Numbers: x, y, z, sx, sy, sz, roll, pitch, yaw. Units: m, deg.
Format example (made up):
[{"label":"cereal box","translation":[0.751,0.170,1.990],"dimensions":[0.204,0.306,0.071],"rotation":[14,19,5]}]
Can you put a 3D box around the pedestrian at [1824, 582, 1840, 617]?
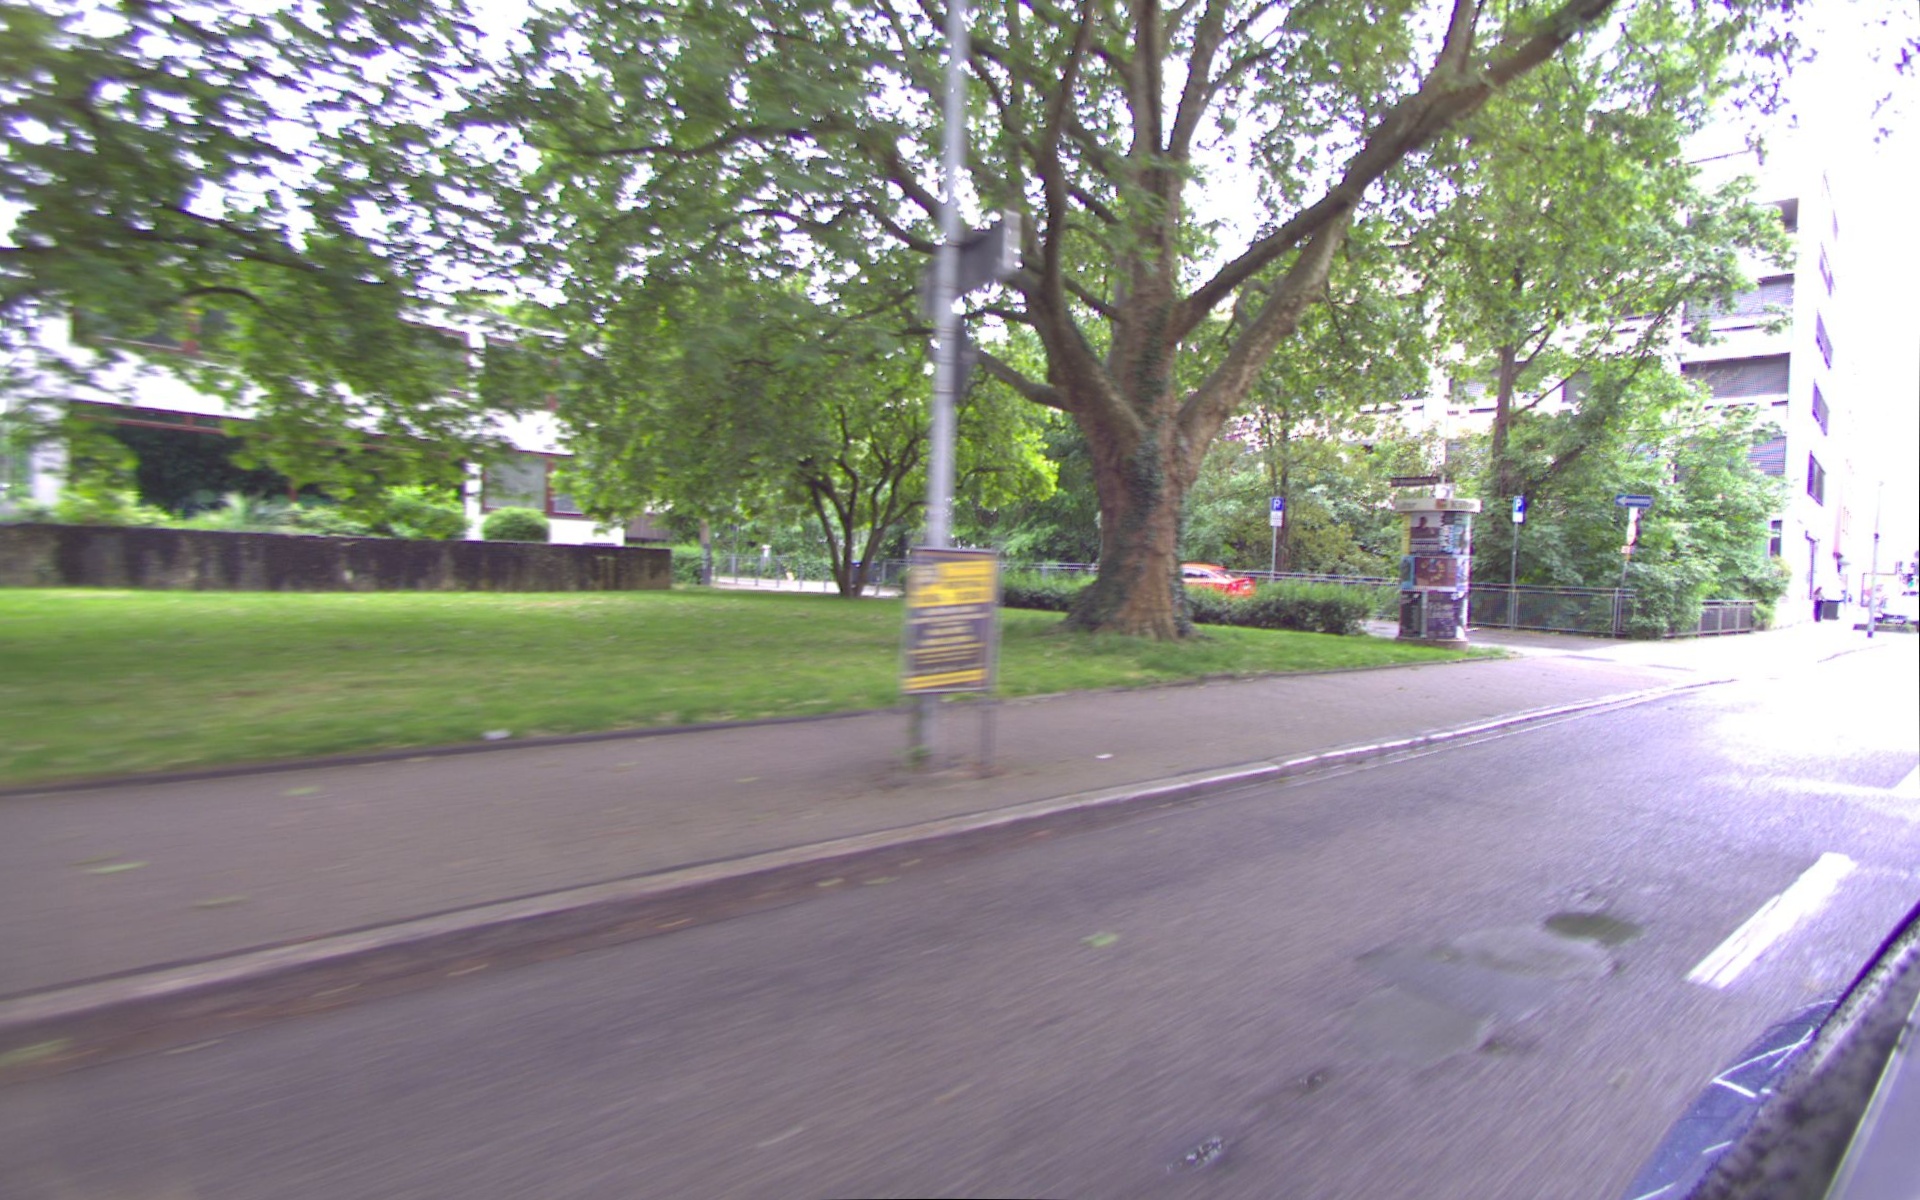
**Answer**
[{"label":"pedestrian","translation":[38.866,-0.043,45.101],"dimensions":[0.473,1.549,0.480],"rotation":[0,0,-41]}]

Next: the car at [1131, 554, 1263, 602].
[{"label":"car","translation":[7.399,-0.716,31.836],"dimensions":[1.551,1.294,3.784],"rotation":[-1,4,-44]}]

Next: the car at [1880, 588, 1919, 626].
[{"label":"car","translation":[39.969,0.296,42.331],"dimensions":[3.617,1.449,1.681],"rotation":[0,6,-41]}]

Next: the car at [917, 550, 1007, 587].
[{"label":"car","translation":[0.047,-1.250,39.584],"dimensions":[3.460,1.294,1.426],"rotation":[5,4,44]}]
